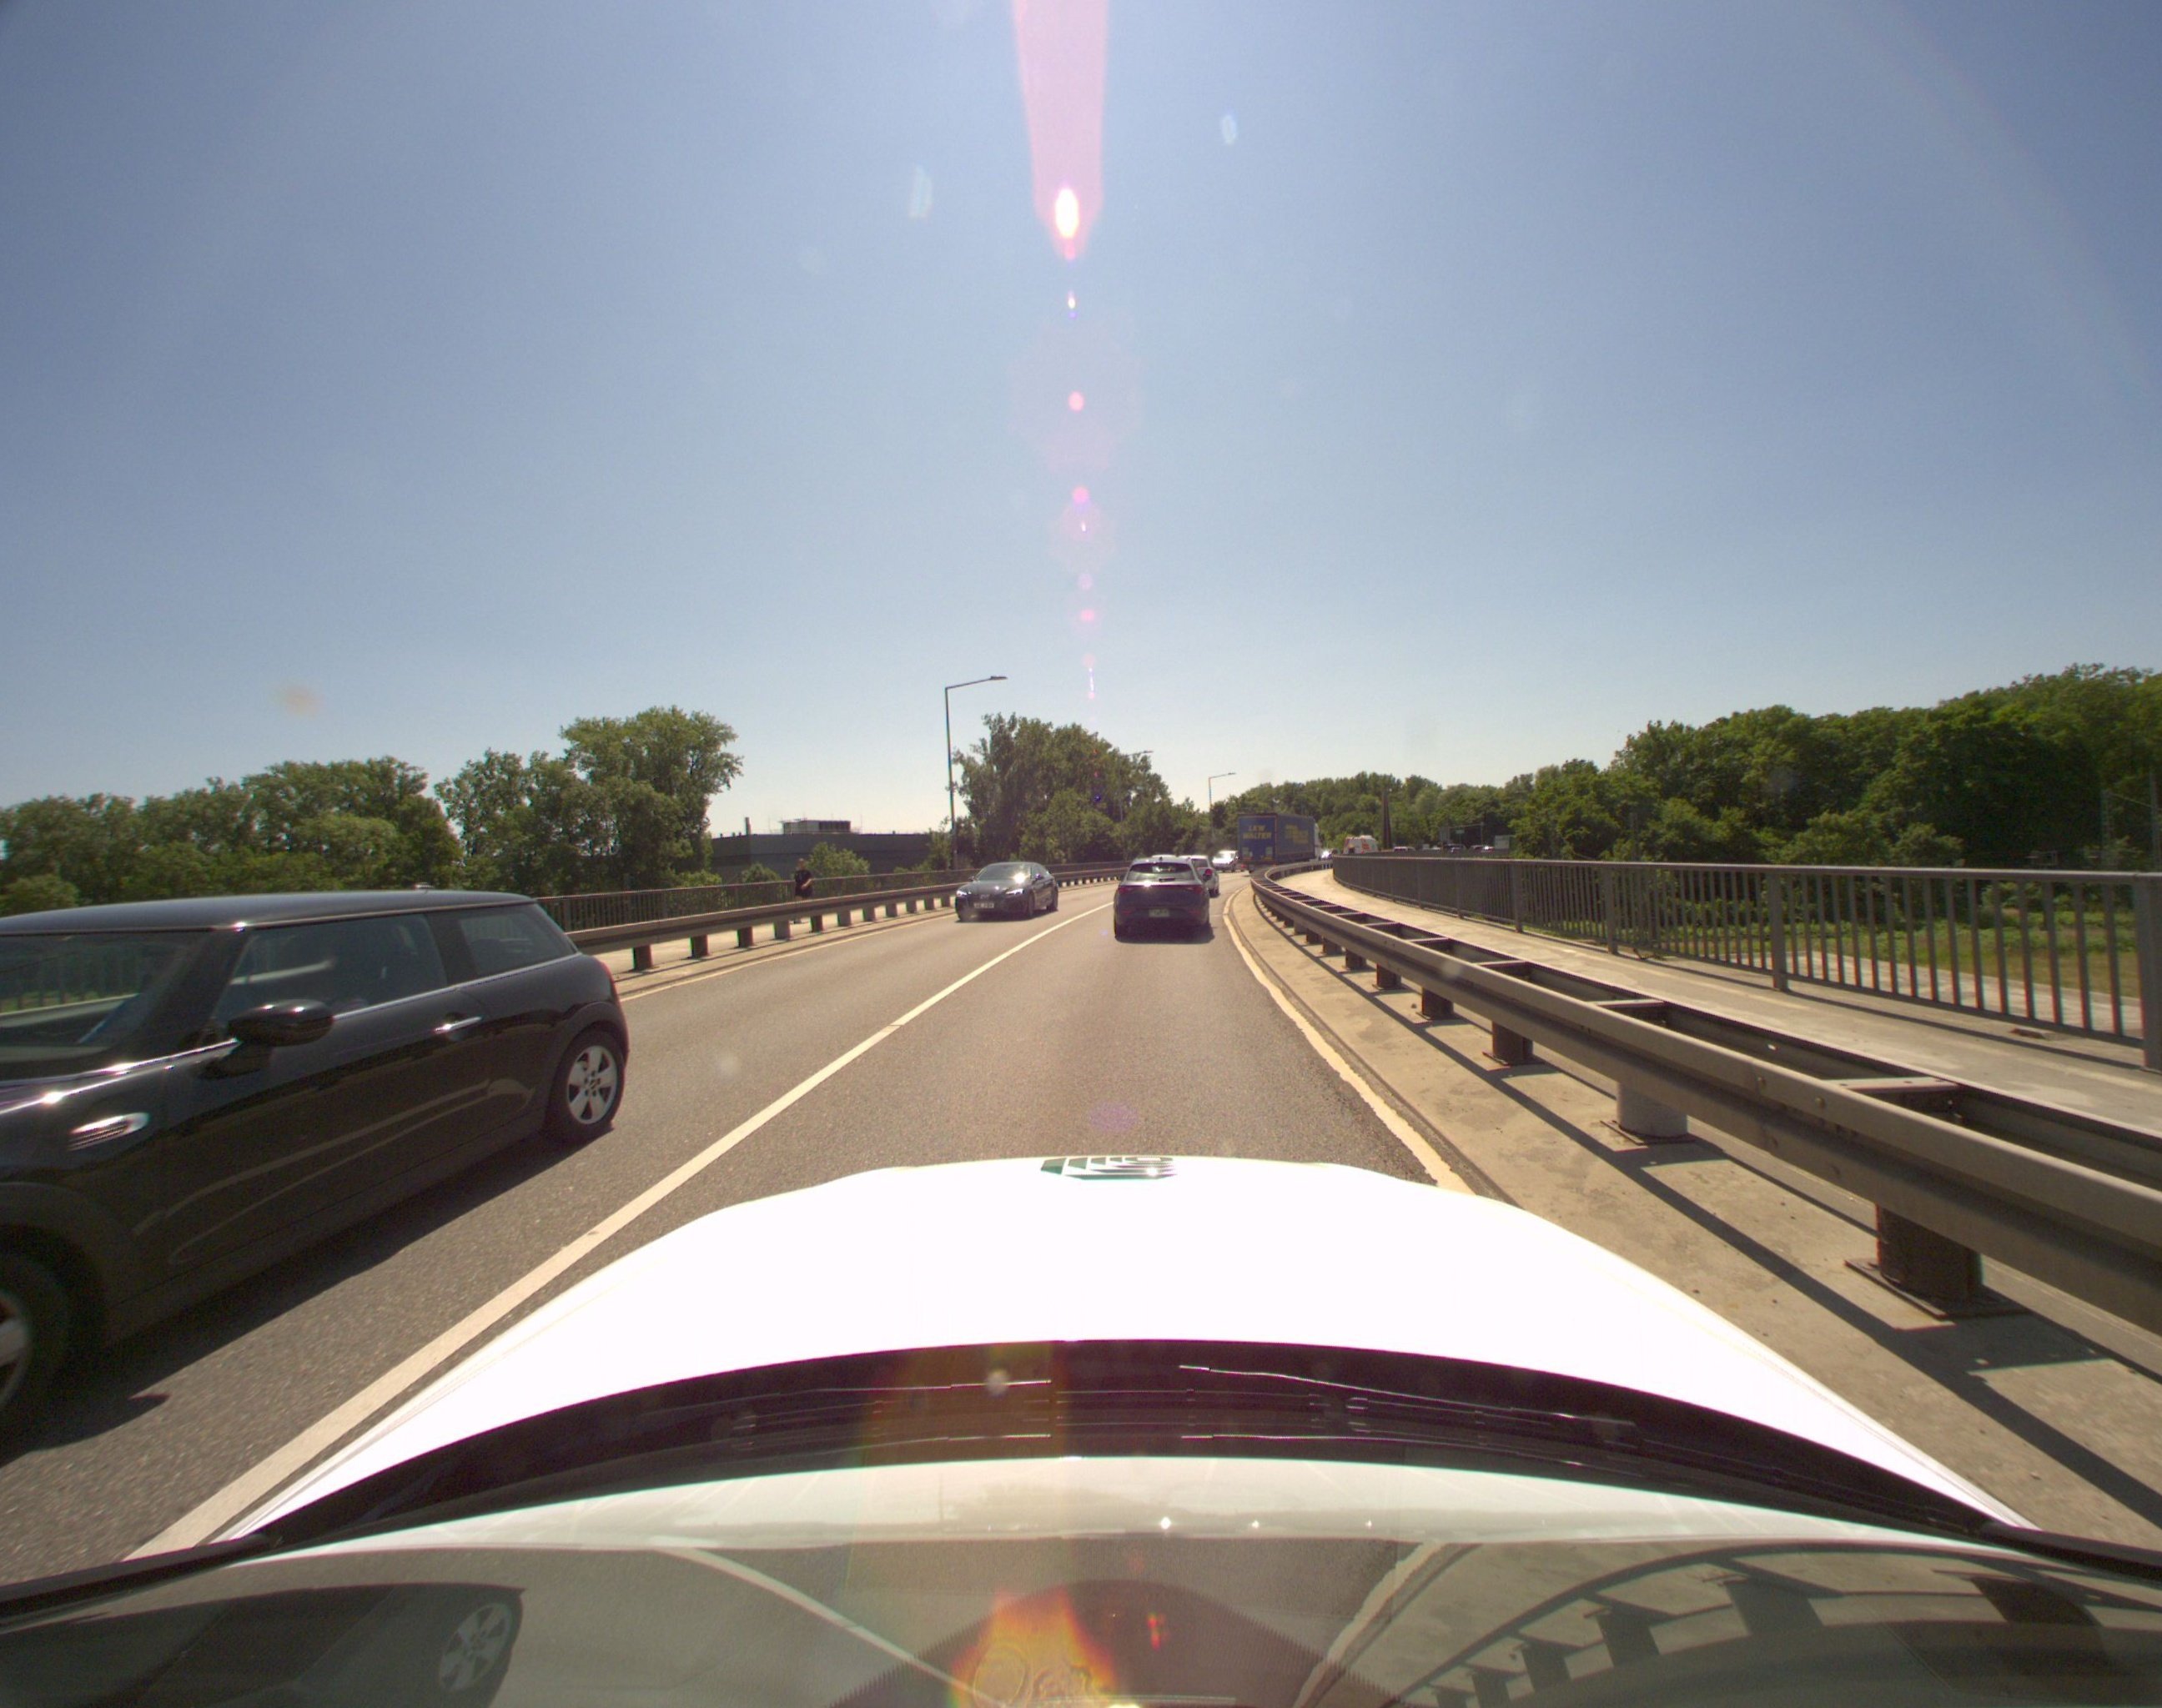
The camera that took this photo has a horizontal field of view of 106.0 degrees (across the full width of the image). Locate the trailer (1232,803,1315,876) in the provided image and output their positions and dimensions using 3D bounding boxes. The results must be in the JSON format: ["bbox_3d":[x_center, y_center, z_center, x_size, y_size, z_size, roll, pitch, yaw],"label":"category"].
[{"bbox_3d":[13.908,-0.876,57.693,3.105,4.614,13.022,0,-1,25],"label":"trailer"}]

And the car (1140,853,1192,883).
[{"bbox_3d":[4.634,0.741,43.920,1.710,1.483,3.887,-3,-1,22],"label":"car"}]

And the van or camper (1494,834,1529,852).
[{"bbox_3d":[63.418,-1.625,119.946,4.980,2.292,2.466,4,2,-36],"label":"van or camper"}]

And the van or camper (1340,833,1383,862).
[{"bbox_3d":[27.520,-0.681,79.772,2.181,2.711,5.963,-1,0,37],"label":"van or camper"}]

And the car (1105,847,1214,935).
[{"bbox_3d":[1.520,0.629,15.807,1.836,1.499,3.764,-1,0,6],"label":"car"}]

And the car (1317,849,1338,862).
[{"bbox_3d":[26.611,0.190,87.789,1.239,1.176,2.938,3,-1,35],"label":"car"}]

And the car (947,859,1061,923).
[{"bbox_3d":[-1.858,0.882,21.138,1.779,1.415,4.586,-2,-1,9],"label":"car"}]

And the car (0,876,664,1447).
[{"bbox_3d":[-3.613,0.861,3.193,1.781,1.419,3.777,-3,-1,4],"label":"car"}]

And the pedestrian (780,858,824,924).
[{"bbox_3d":[-6.814,0.899,19.880,0.710,1.561,0.696,-3,-1,9],"label":"pedestrian"}]

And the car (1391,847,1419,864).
[{"bbox_3d":[35.631,0.163,89.534,1.870,1.850,4.025,-1,-1,36],"label":"car"}]

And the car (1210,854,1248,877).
[{"bbox_3d":[11.371,0.852,62.397,1.699,1.615,4.143,-2,-1,27],"label":"car"}]

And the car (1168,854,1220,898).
[{"bbox_3d":[4.142,0.757,29.494,1.582,1.461,3.557,0,0,13],"label":"car"}]

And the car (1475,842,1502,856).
[{"bbox_3d":[55.080,-0.664,110.124,4.022,1.850,1.872,0,-1,-42],"label":"car"}]

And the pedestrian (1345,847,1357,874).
[{"bbox_3d":[19.786,0.451,59.596,0.730,1.967,0.738,-1,-1,26],"label":"pedestrian"}]

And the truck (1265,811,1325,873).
[{"bbox_3d":[16.884,-0.813,63.837,3.141,4.585,7.439,-1,-1,26],"label":"truck"}]
